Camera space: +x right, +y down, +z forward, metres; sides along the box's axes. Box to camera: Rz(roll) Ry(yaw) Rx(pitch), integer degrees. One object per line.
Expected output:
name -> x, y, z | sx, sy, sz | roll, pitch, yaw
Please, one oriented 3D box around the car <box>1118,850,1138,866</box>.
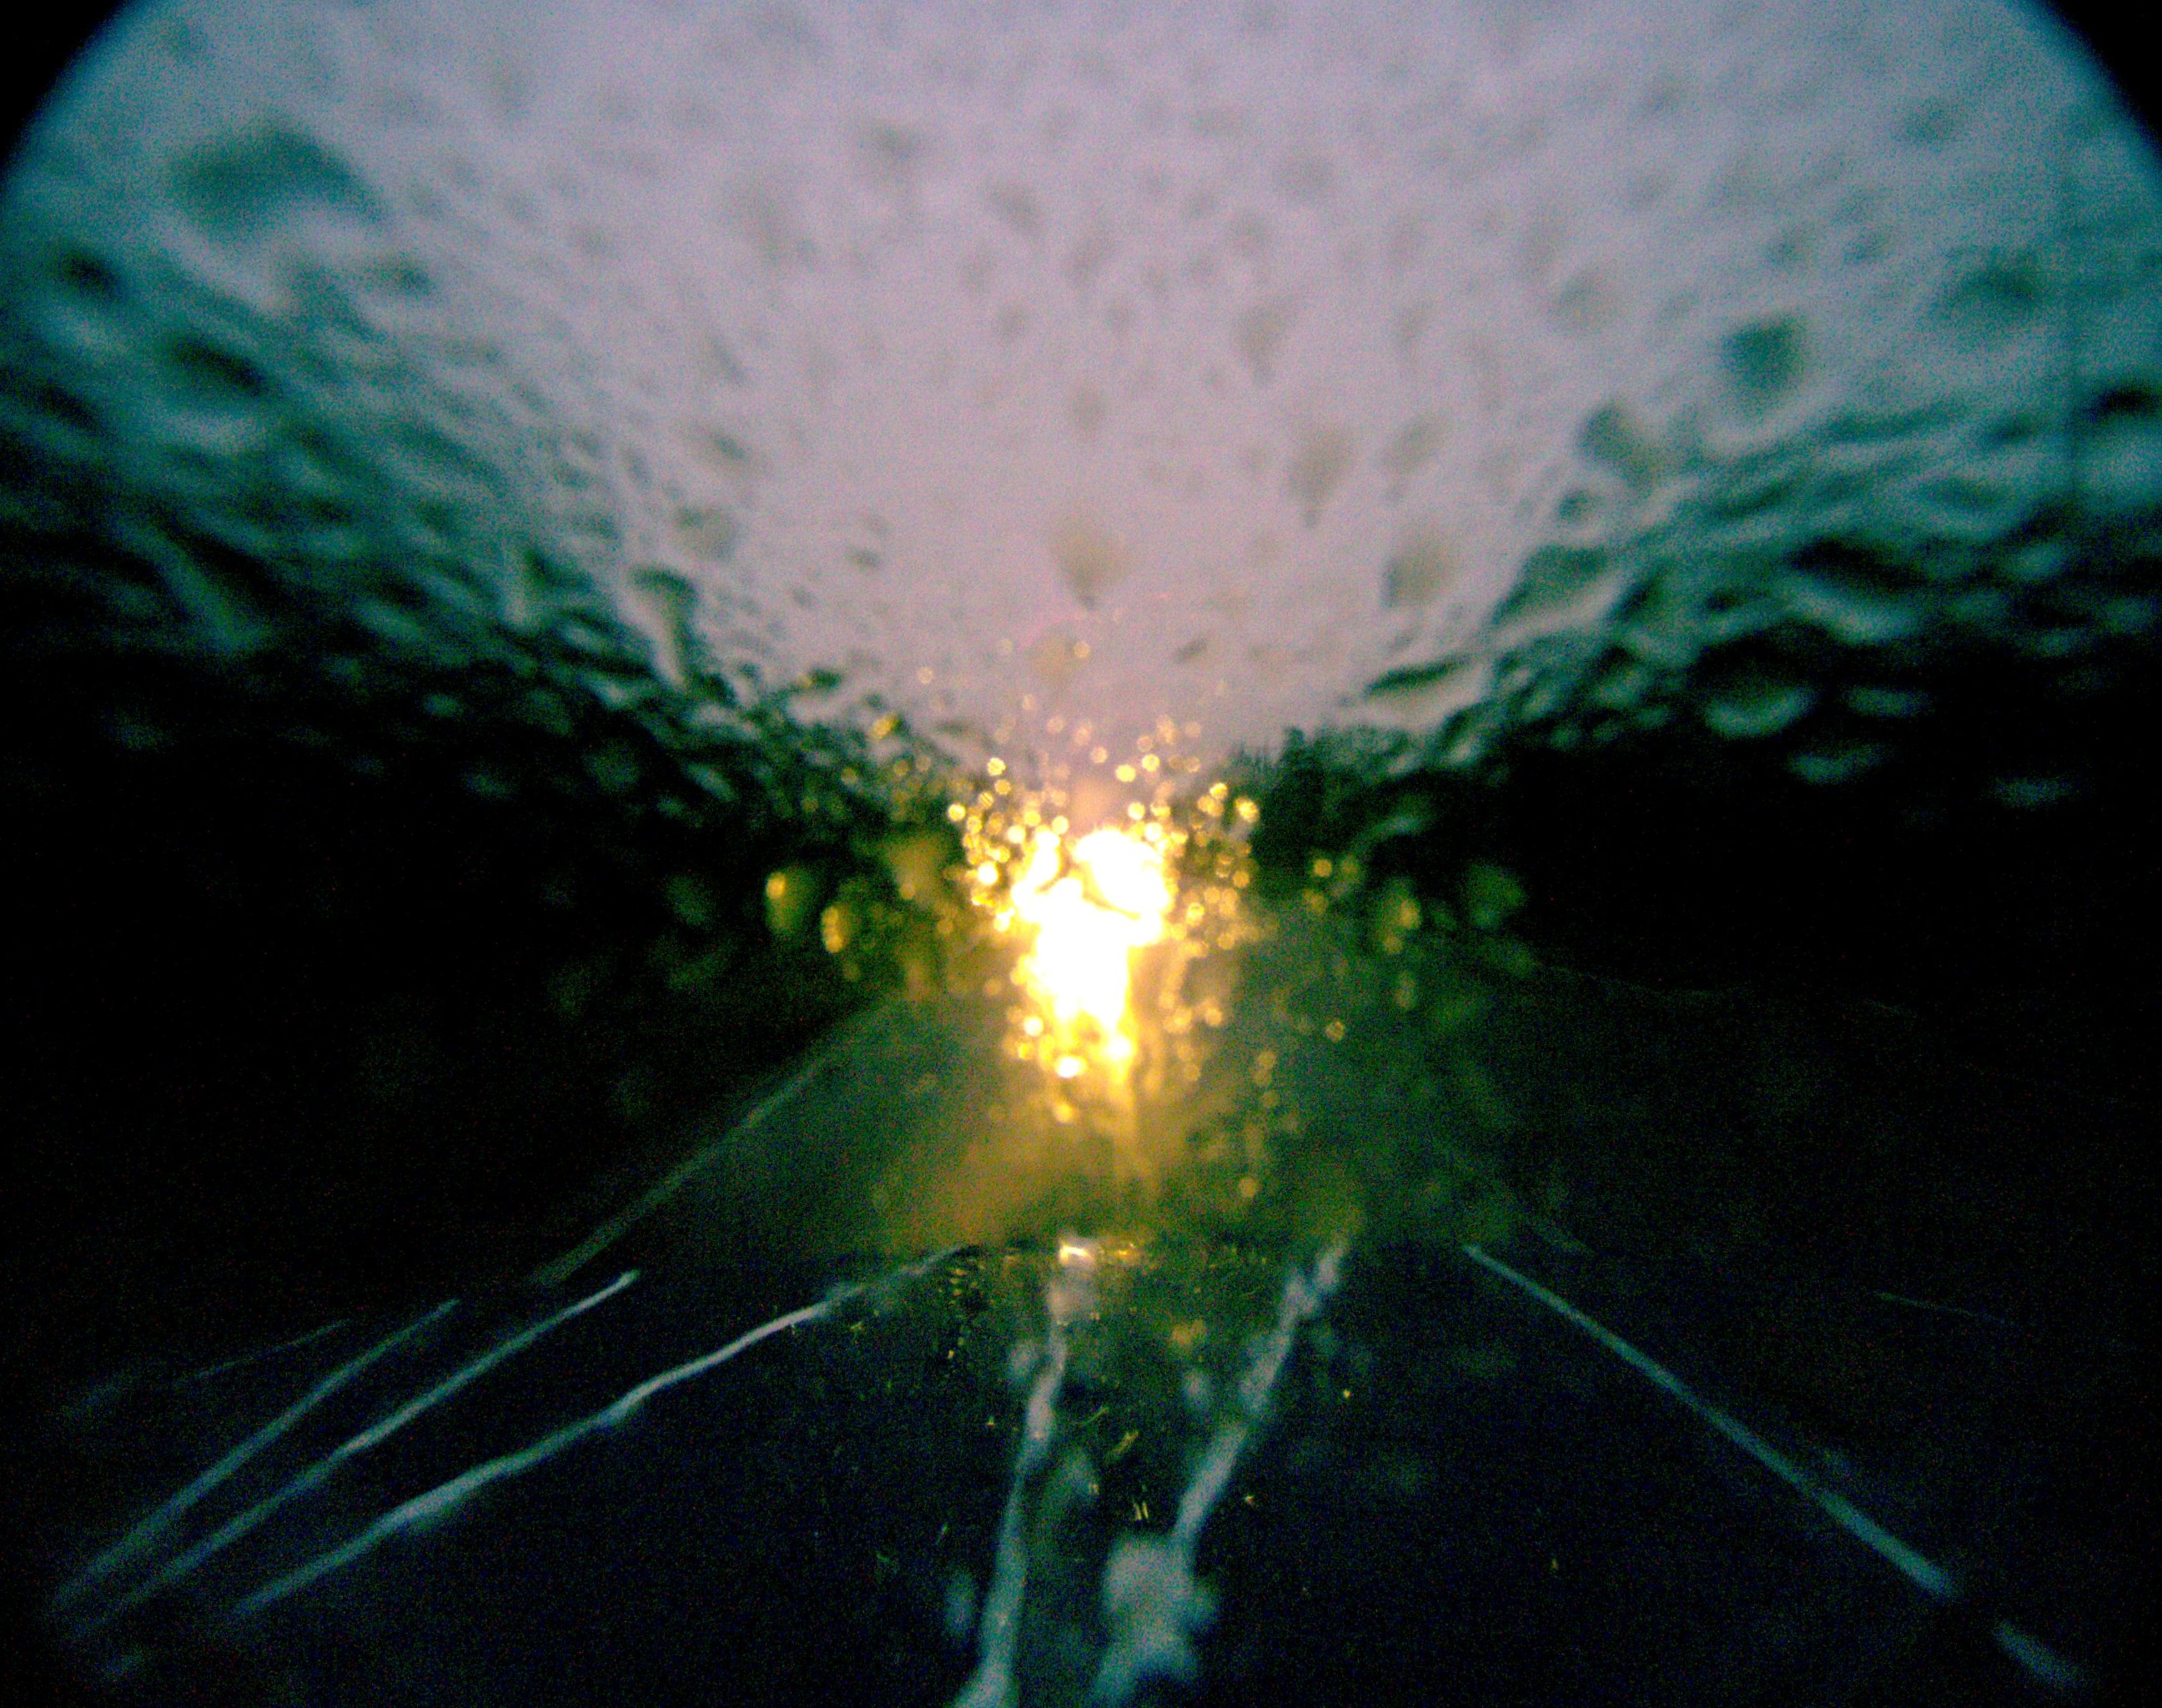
car -> 4.781, 0.429, 78.555 | 1.738, 1.525, 4.959 | -3, 0, 0
